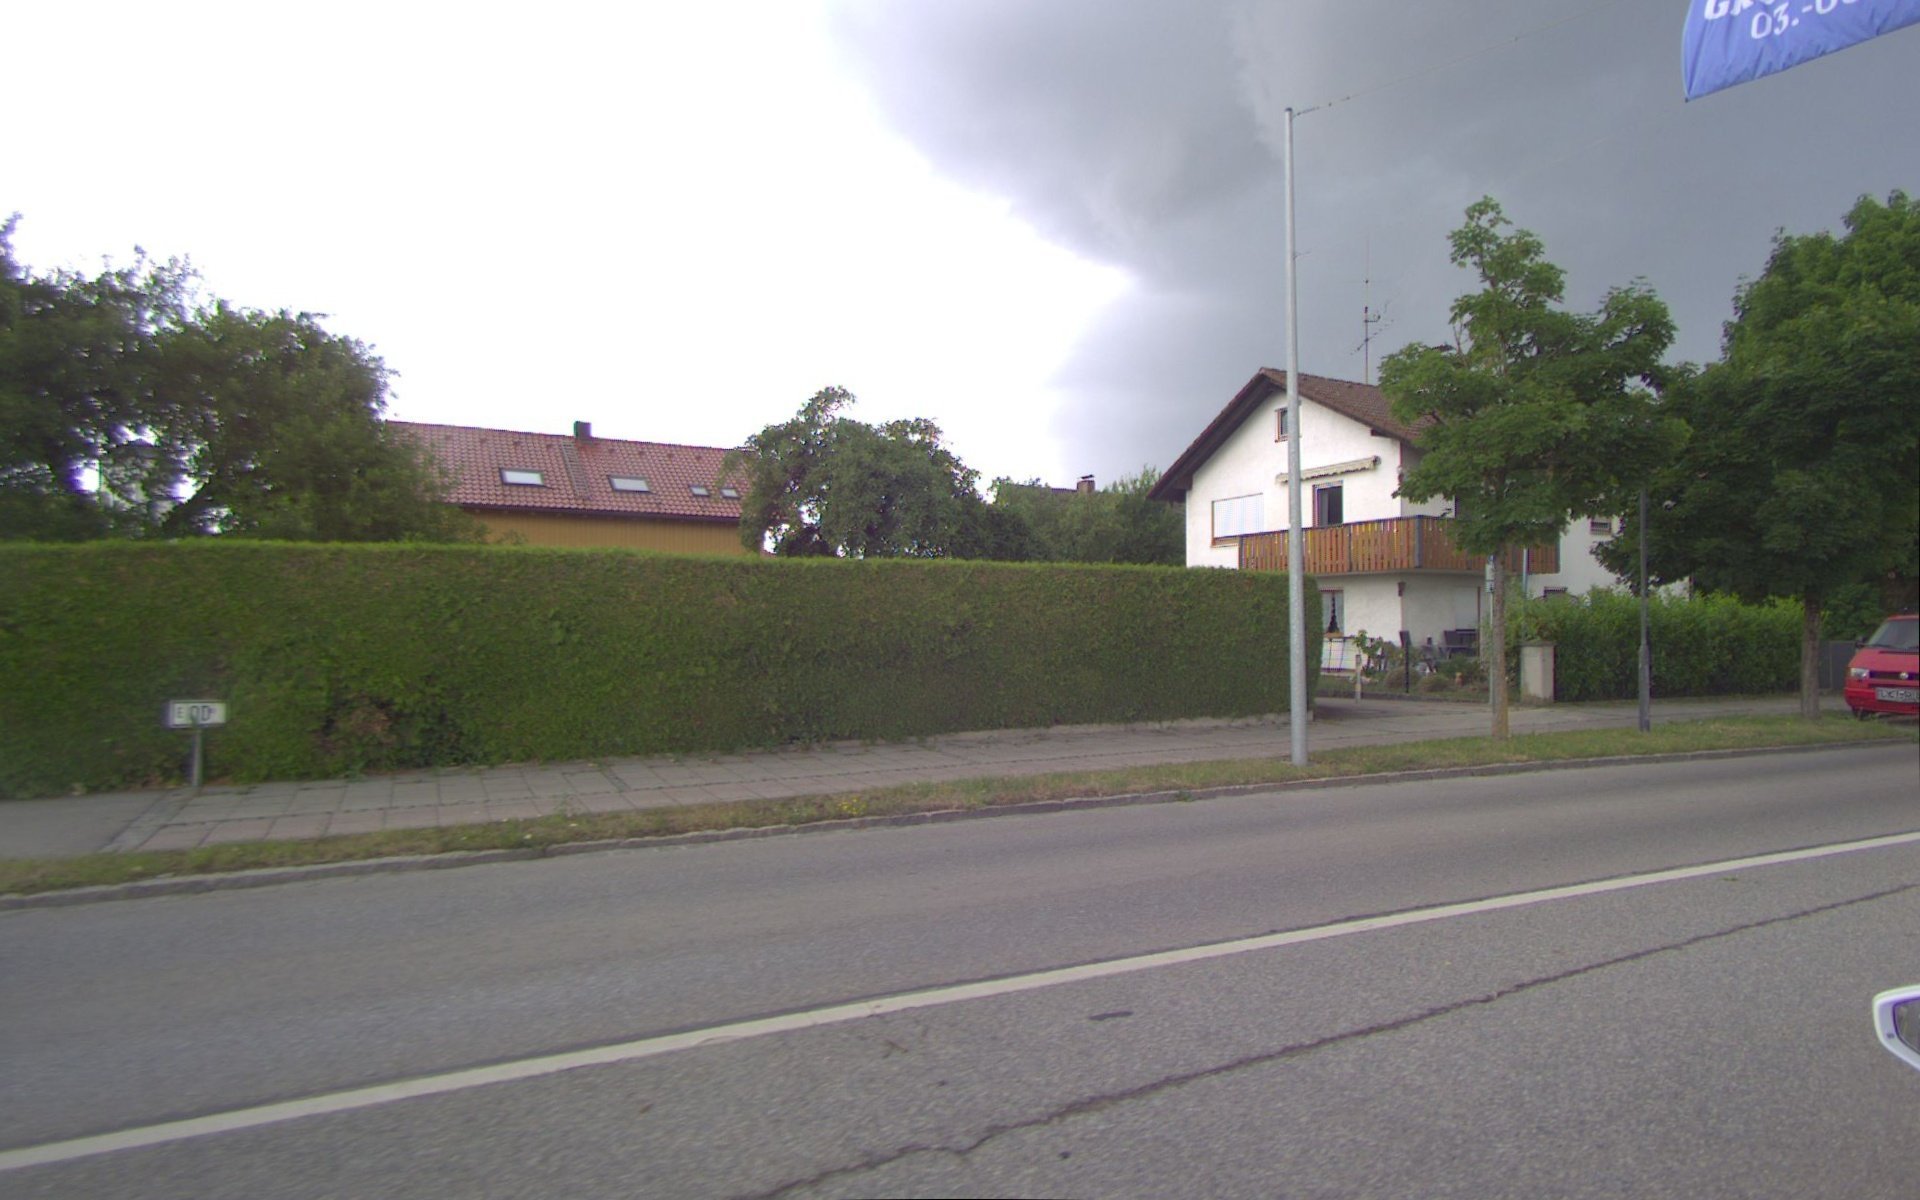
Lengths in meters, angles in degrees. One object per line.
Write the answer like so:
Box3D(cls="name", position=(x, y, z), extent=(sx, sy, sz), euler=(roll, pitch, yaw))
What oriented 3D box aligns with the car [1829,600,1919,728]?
Box3D(cls="car", position=(17.597, 1.067, 17.751), extent=(4.985, 2.057, 1.822), euler=(1, 0, -30))
